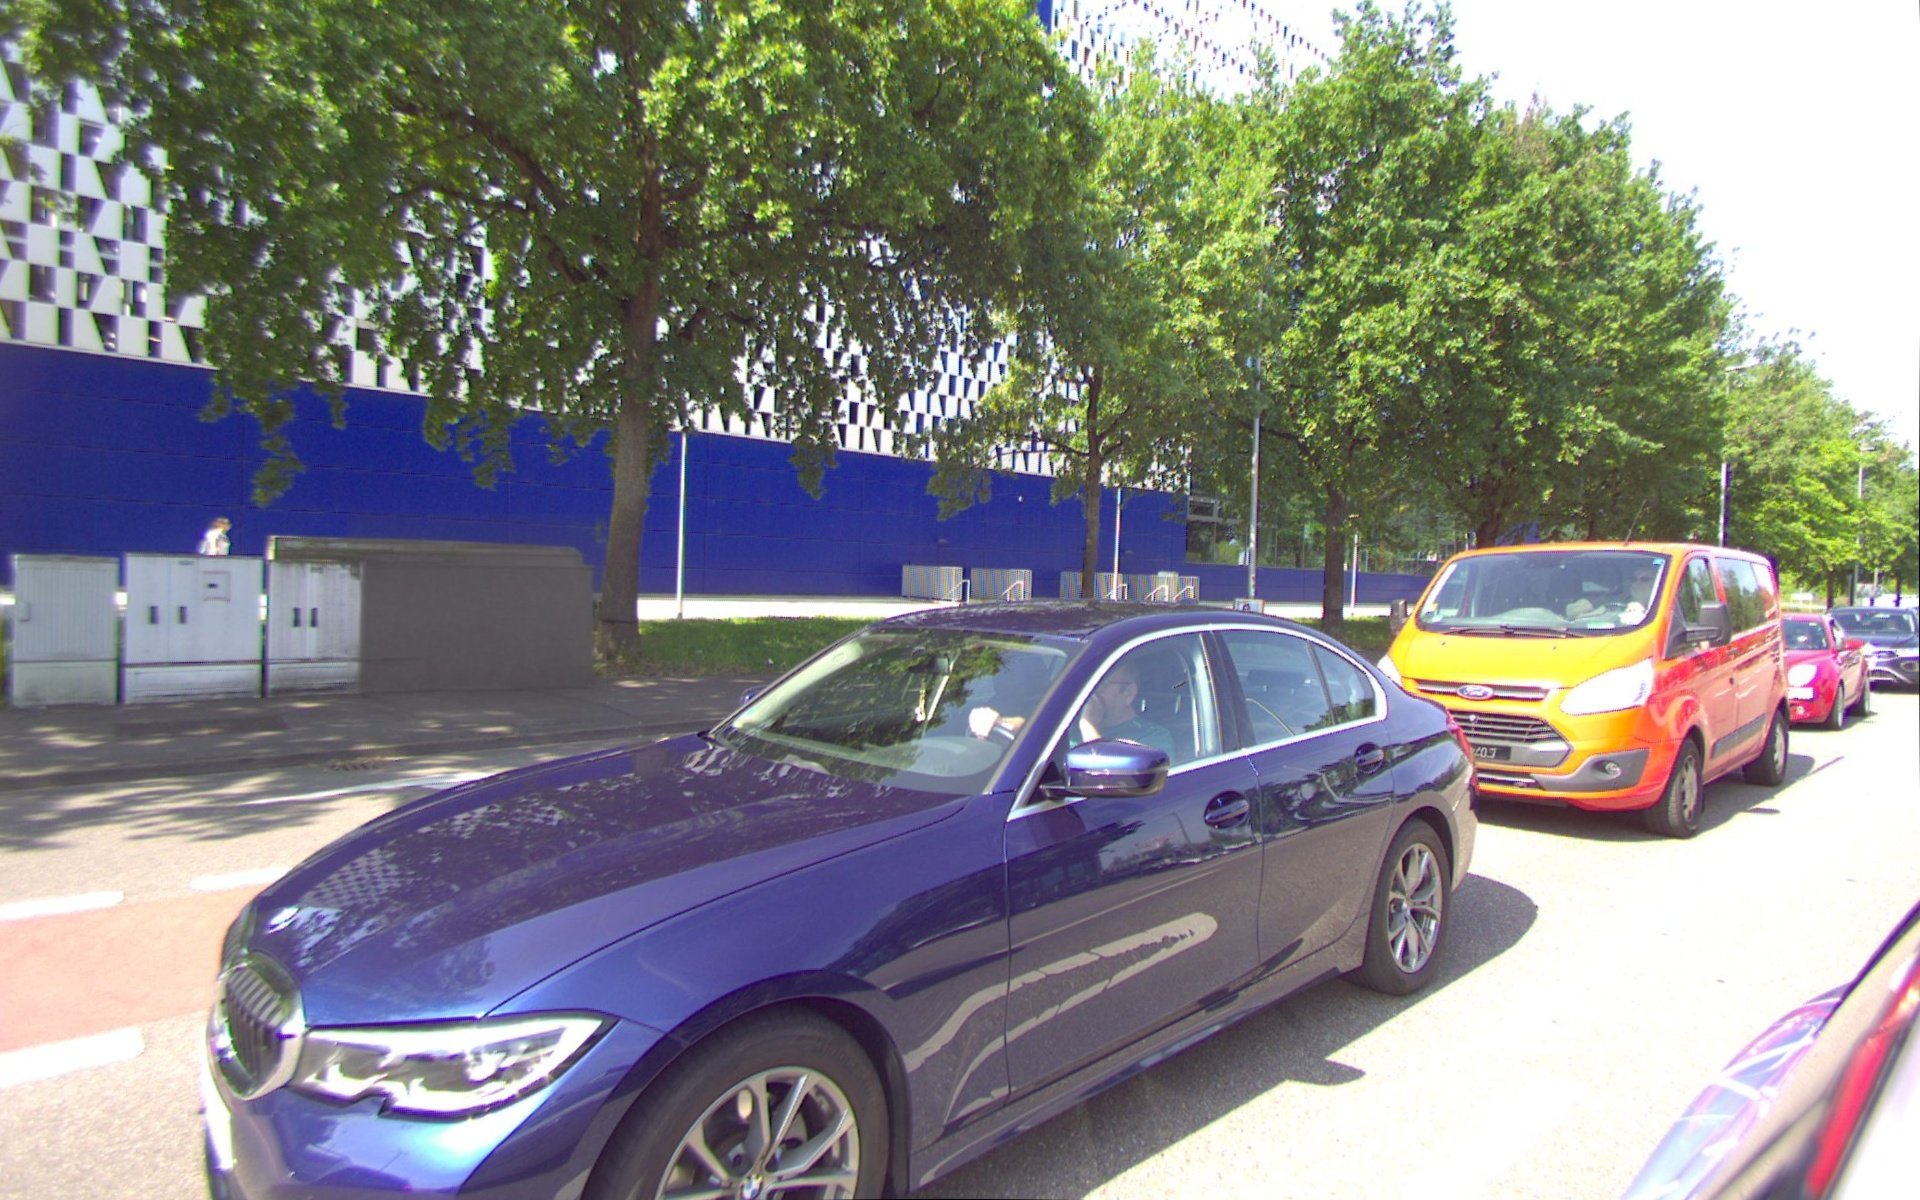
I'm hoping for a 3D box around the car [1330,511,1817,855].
[{"bbox_3d":[5.061,0.466,8.022,4.726,1.931,2.012,0,0,-42],"label":"car"}]

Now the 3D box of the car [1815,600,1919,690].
[{"bbox_3d":[17.585,0.789,19.145,3.932,1.559,1.647,0,-1,-43],"label":"car"}]

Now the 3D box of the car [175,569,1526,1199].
[{"bbox_3d":[0.157,0.673,3.518,4.459,1.447,1.798,0,1,-42],"label":"car"}]

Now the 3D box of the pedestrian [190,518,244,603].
[{"bbox_3d":[-14.133,-0.746,19.257,0.767,1.565,0.680,1,2,-41],"label":"pedestrian"}]

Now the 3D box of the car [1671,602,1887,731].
[{"bbox_3d":[11.035,0.777,13.542,3.849,1.440,1.690,0,1,-43],"label":"car"}]
